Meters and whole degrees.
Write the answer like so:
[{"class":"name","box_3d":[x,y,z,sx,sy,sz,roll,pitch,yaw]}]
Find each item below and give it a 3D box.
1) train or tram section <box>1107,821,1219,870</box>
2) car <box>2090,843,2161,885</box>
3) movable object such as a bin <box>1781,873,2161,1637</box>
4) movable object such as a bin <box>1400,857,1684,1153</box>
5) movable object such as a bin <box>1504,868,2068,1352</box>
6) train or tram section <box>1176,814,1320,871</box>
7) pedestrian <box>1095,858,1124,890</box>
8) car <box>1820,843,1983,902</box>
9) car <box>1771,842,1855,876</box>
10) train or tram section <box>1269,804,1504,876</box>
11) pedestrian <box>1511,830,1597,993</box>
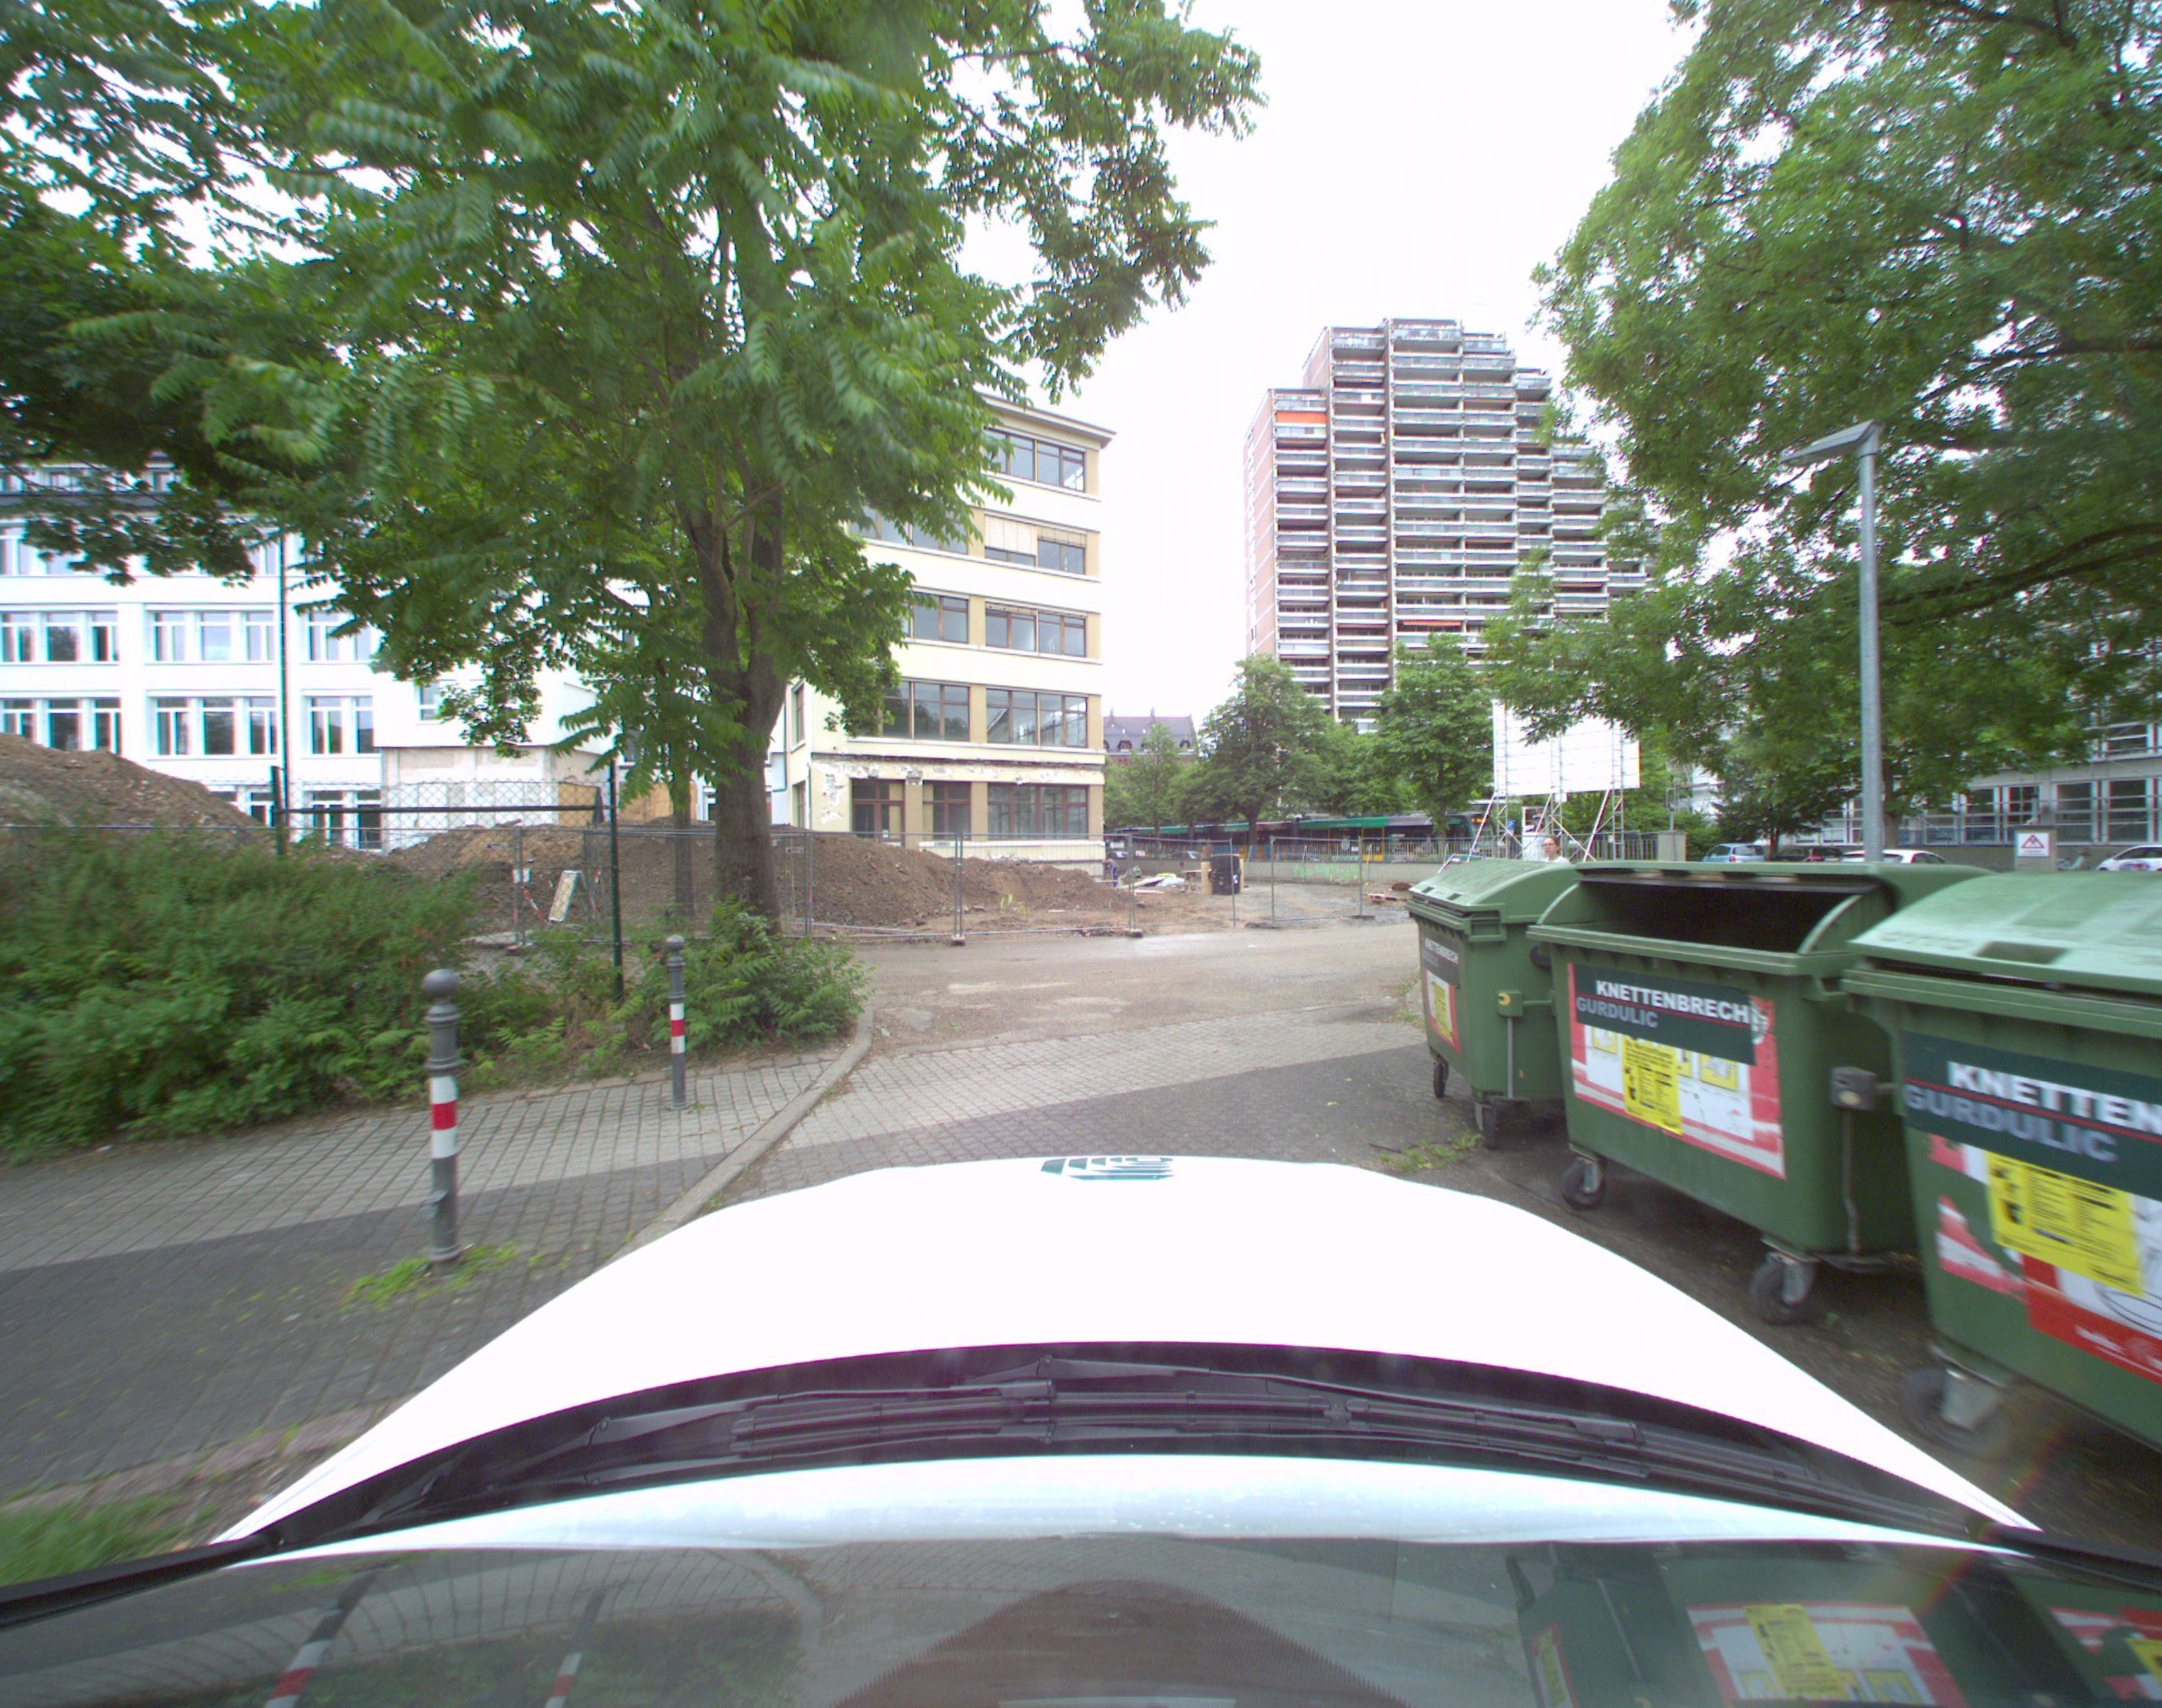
[{"class":"train or tram section","box_3d":[6.440,-0.612,67.136,2.675,3.614,12.342,-1,0,-29]},{"class":"car","box_3d":[38.738,0.338,29.273,1.539,1.473,3.425,-1,0,20]},{"class":"movable object such as a bin","box_3d":[2.634,0.794,1.768,1.104,1.450,1.292,-1,0,-7]},{"class":"movable object such as a bin","box_3d":[2.525,0.743,4.686,1.061,1.434,1.279,-1,0,11]},{"class":"movable object such as a bin","box_3d":[2.590,0.802,3.219,1.104,1.450,1.283,-1,0,-7]},{"class":"train or tram section","box_3d":[11.461,-0.685,57.861,2.675,3.614,12.342,-1,0,-29]},{"class":"pedestrian","box_3d":[1.328,0.900,37.738,0.986,1.438,0.921,0,-1,-33]},{"class":"car","box_3d":[21.765,0.520,21.606,3.983,1.433,1.767,2,-2,-24]},{"class":"car","box_3d":[33.831,0.224,37.743,1.601,1.511,3.352,-1,0,17]},{"class":"train or tram section","box_3d":[17.040,-0.667,47.617,2.675,3.614,14.634,-1,0,-29]},{"class":"pedestrian","box_3d":[5.457,0.628,9.389,0.742,1.781,0.667,-1,0,38]}]
